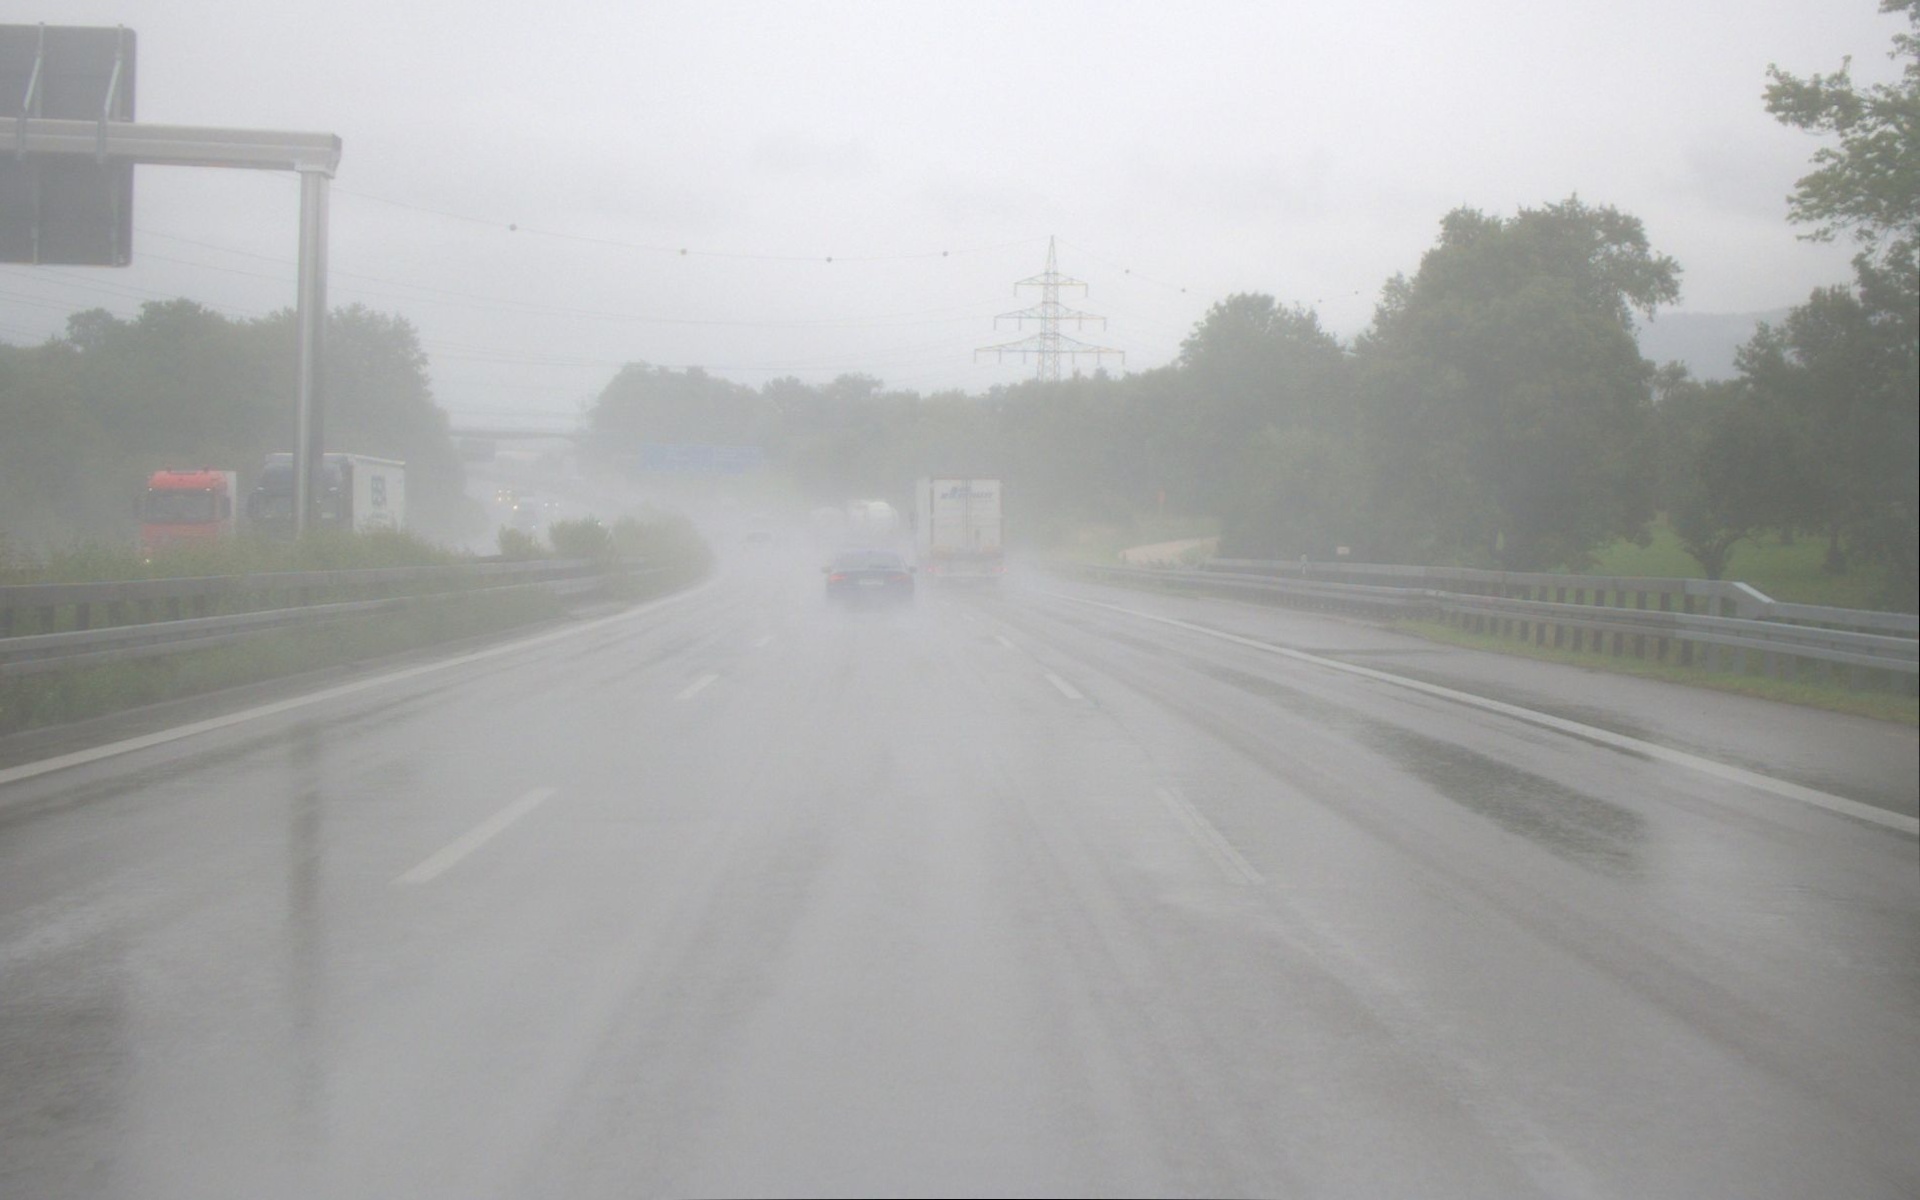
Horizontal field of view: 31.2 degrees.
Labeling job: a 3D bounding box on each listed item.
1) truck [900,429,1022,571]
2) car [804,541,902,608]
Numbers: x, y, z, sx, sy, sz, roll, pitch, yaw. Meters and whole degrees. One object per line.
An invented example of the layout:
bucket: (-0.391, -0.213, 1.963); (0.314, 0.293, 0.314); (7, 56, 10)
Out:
truck: (0.074, -3.801, 129.463); (4.256, 4.955, 17.342); (0, 2, 0)
car: (-2.145, -0.539, 69.809); (1.749, 1.208, 4.000); (3, 1, 1)
